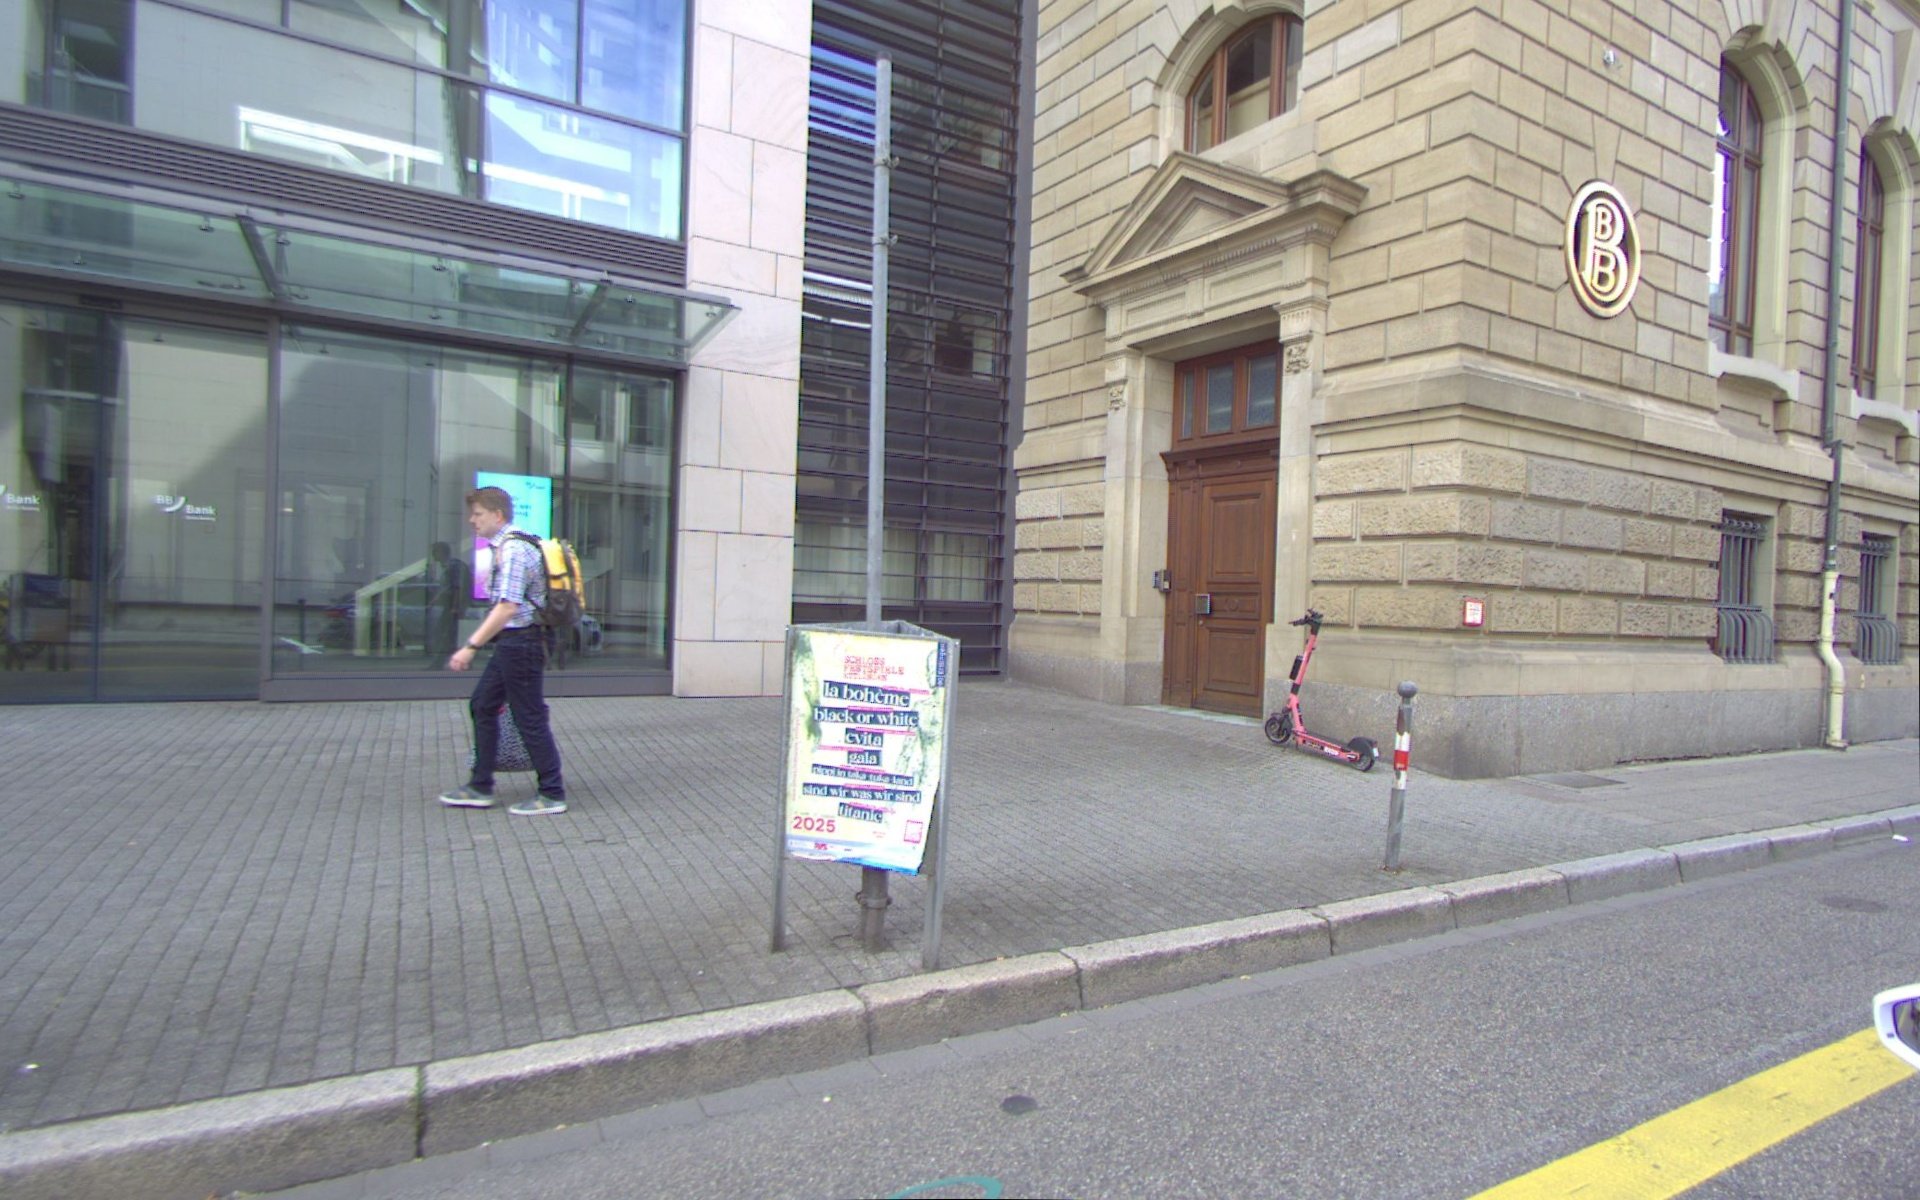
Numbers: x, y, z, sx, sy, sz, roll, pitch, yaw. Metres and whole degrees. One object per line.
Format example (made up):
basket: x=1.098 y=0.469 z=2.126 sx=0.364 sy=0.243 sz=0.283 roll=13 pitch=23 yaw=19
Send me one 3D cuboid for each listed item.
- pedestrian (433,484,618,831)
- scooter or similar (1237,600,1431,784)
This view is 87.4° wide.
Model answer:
pedestrian: x=-2.482 y=0.279 z=5.678 sx=0.809 sy=1.743 sz=1.021 roll=2 pitch=2 yaw=-29
scooter or similar: x=3.123 y=0.715 z=8.520 sx=0.580 sy=1.328 sz=1.439 roll=1 pitch=4 yaw=-30
